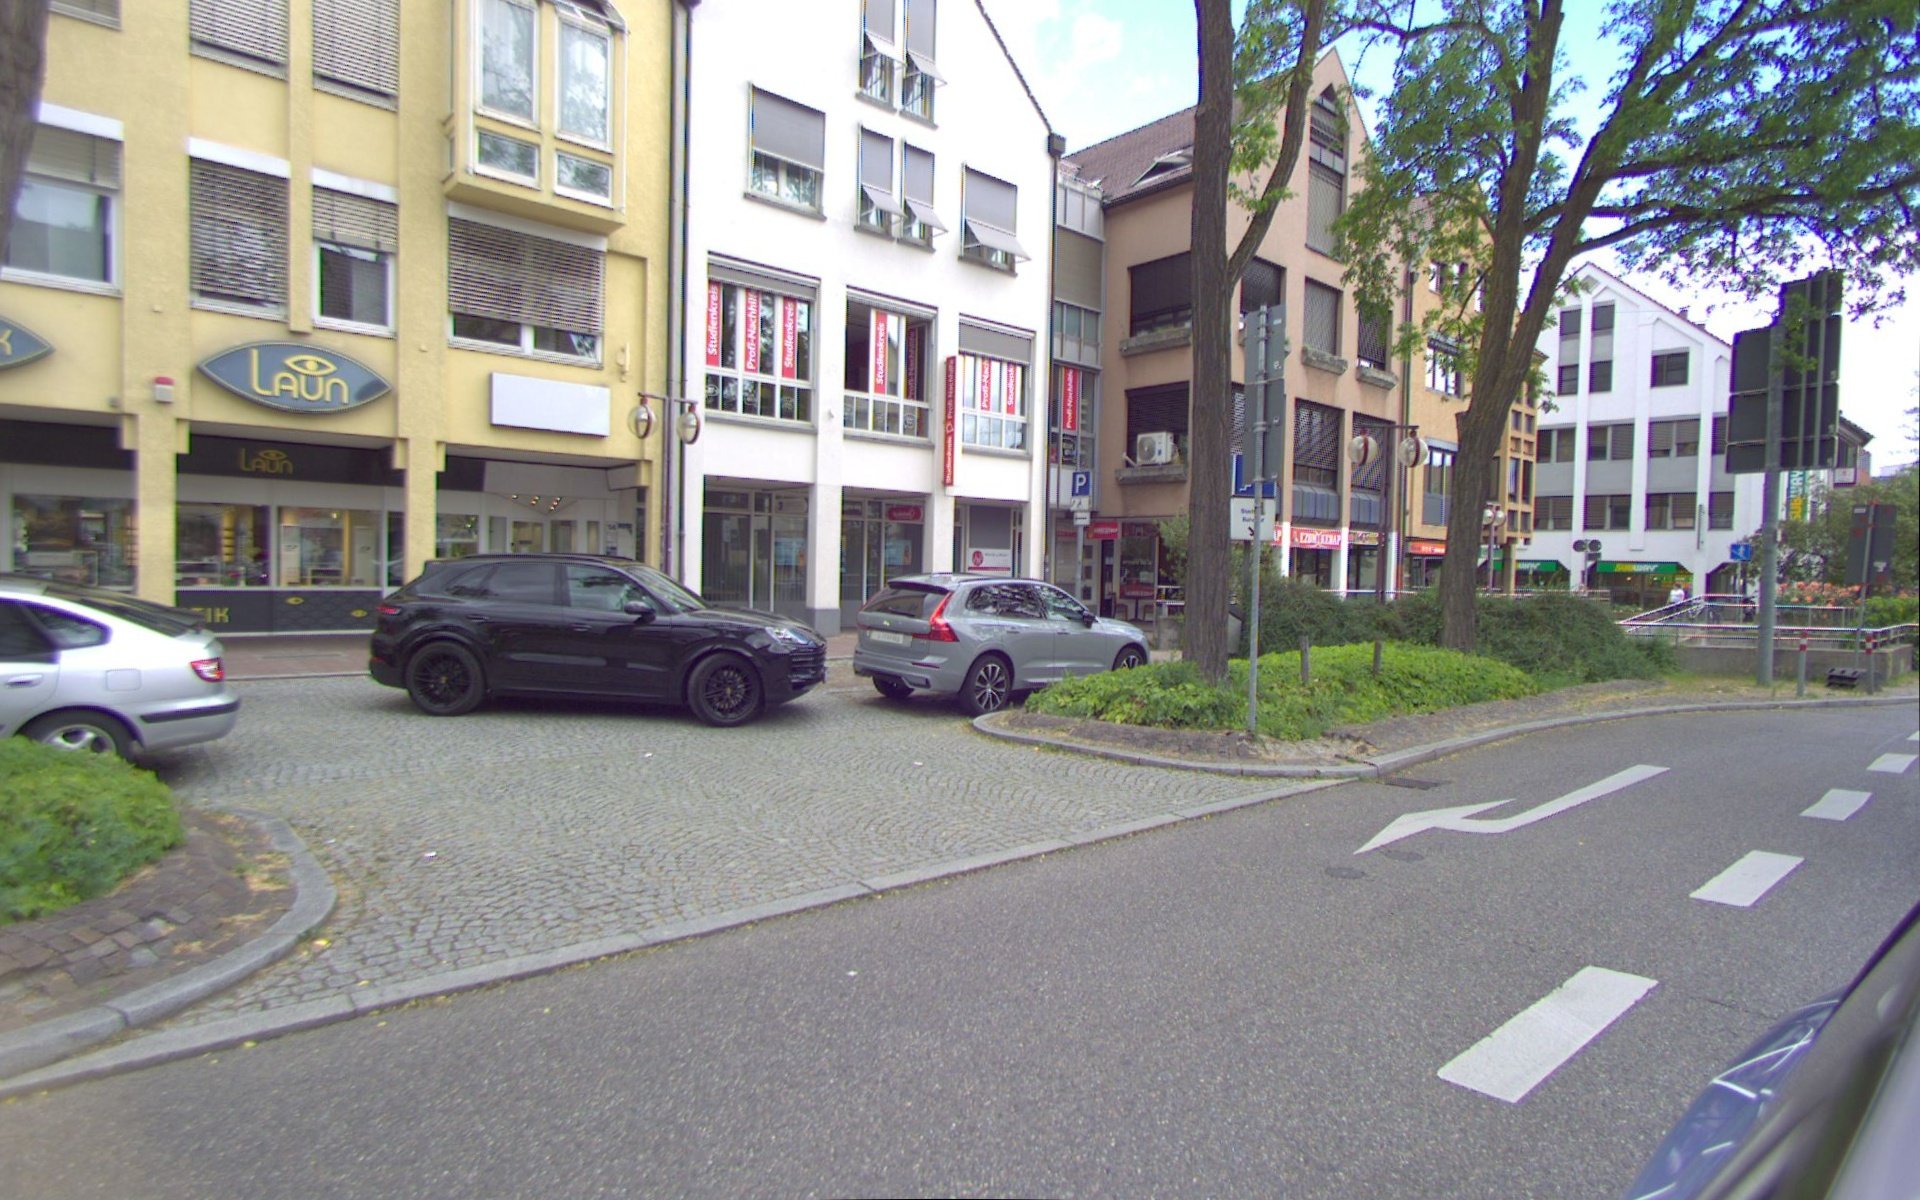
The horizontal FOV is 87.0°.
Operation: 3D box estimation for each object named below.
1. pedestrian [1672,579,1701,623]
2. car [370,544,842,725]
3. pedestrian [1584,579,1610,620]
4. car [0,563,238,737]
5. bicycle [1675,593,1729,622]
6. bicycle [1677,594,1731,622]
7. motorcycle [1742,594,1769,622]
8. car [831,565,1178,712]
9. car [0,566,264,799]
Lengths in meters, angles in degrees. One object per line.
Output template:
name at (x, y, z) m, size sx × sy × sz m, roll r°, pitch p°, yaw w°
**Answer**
pedestrian at (30.667, 0.045, 42.701) m, size 0.772 × 1.846 × 0.869 m, roll 0°, pitch 0°, yaw -44°
car at (-3.703, 0.311, 11.224) m, size 4.573 × 1.690 × 1.860 m, roll 2°, pitch 2°, yaw -2°
pedestrian at (28.520, -0.020, 45.302) m, size 0.882 × 1.779 × 0.931 m, roll 2°, pitch 1°, yaw 38°
car at (-9.078, 0.394, 8.813) m, size 4.344 × 1.393 × 2.000 m, roll 0°, pitch 3°, yaw -43°
bicycle at (27.504, 0.267, 37.549) m, size 1.584 × 1.014 × 0.409 m, roll 2°, pitch 2°, yaw 37°
bicycle at (27.960, 0.282, 38.065) m, size 1.584 × 0.981 × 0.455 m, roll 2°, pitch 2°, yaw 36°
motorcycle at (32.260, 0.323, 41.038) m, size 1.961 × 1.081 × 0.464 m, roll 0°, pitch 2°, yaw -41°
car at (0.750, 0.391, 13.662) m, size 4.685 × 1.615 × 1.996 m, roll 0°, pitch 2°, yaw -44°
car at (-7.291, 0.513, 6.605) m, size 4.344 × 1.468 × 1.765 m, roll 0°, pitch 2°, yaw -43°
